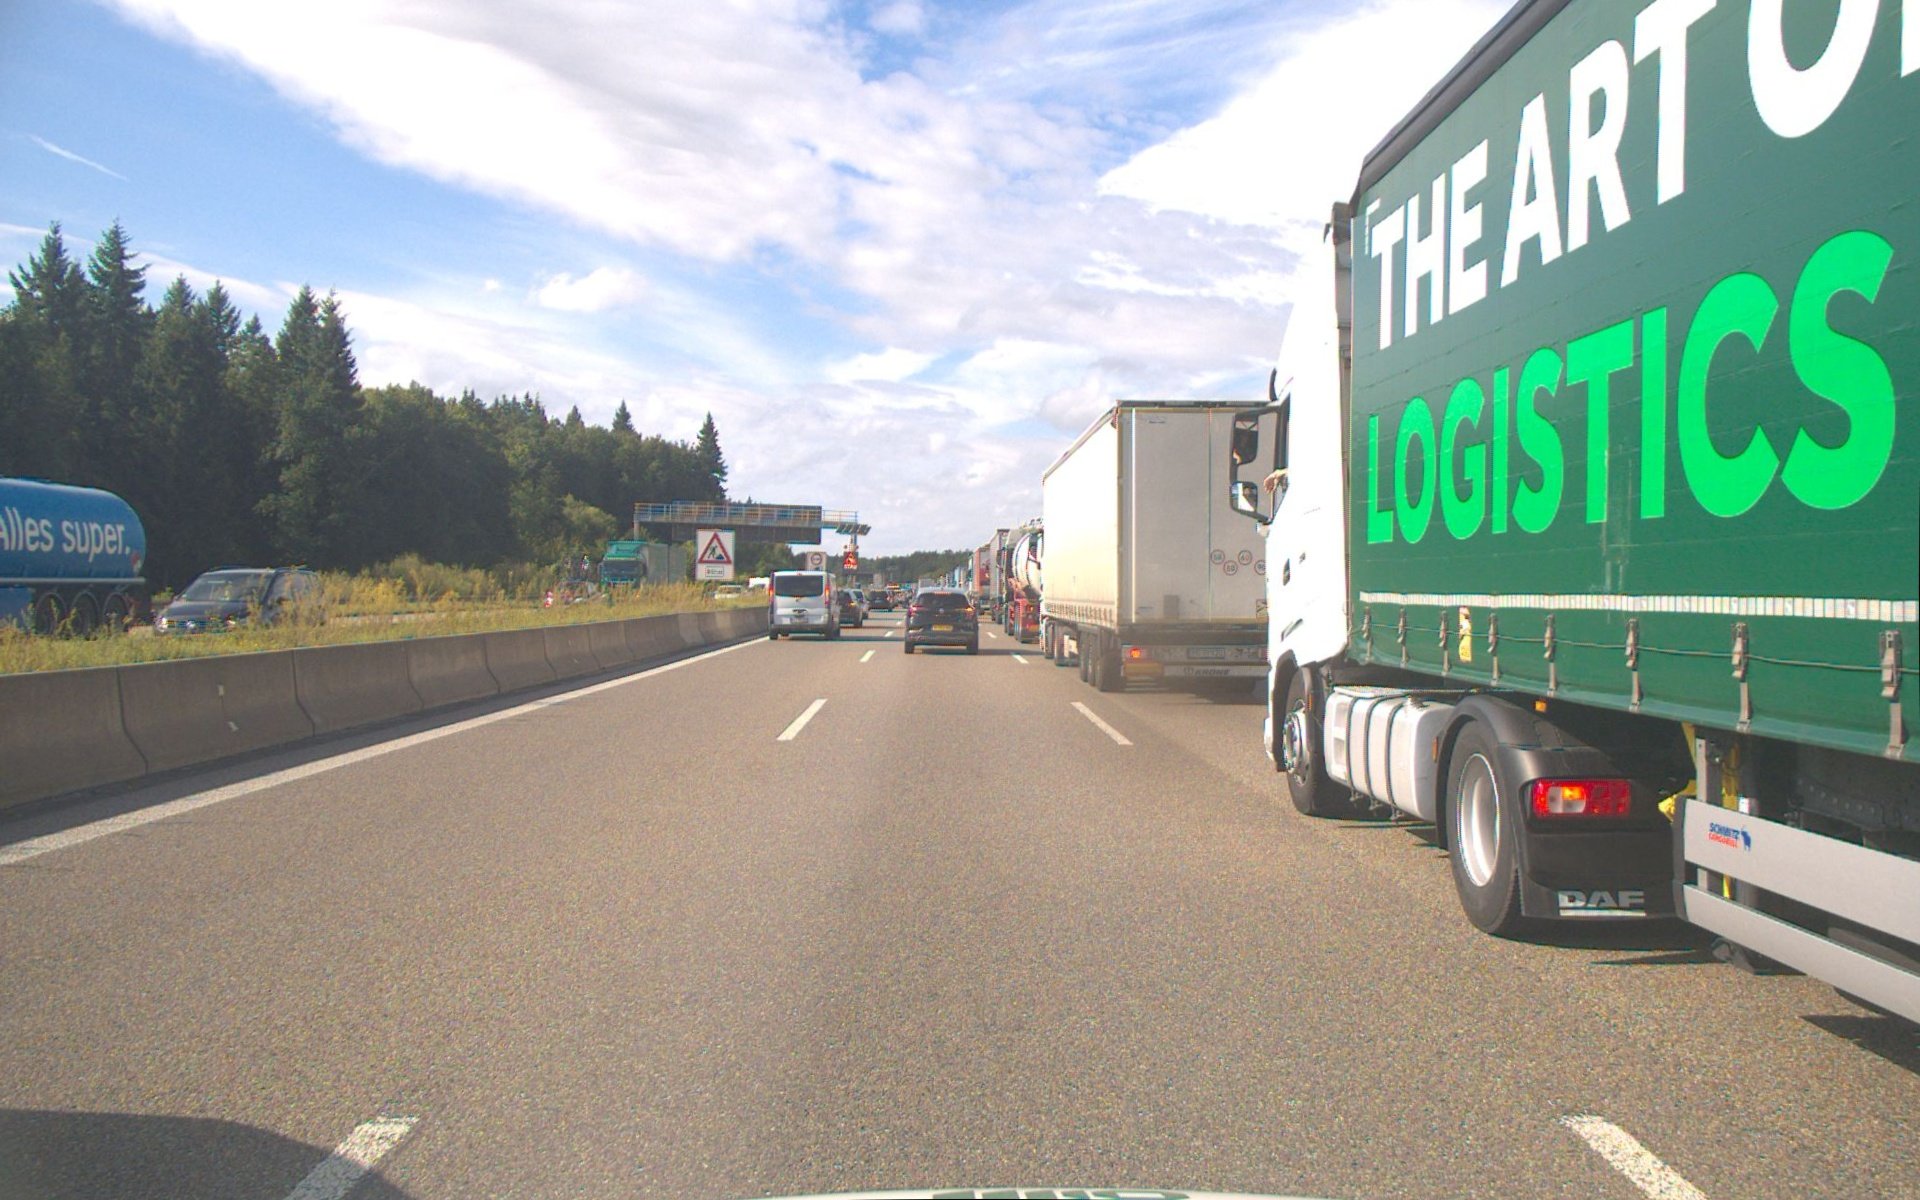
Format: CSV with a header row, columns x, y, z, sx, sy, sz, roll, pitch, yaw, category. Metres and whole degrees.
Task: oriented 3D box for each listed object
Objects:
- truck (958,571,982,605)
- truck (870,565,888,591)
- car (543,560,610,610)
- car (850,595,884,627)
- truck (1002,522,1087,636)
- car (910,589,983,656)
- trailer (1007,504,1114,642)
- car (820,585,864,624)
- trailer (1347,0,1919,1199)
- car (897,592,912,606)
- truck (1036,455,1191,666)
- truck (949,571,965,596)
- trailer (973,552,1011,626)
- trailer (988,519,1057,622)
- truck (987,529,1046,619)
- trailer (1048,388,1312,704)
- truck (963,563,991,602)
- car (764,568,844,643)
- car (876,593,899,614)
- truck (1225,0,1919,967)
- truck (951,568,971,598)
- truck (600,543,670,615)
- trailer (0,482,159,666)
x,y,z,sx,sy,sz,roll,pitch,yaw,category
0.922,-1.089,152.358,1.953,2.983,4.981,3,0,0,truck
-11.861,-3.171,242.306,2.297,3.656,6.304,4,0,-1,truck
-15.715,-0.596,67.948,1.724,1.914,3.999,4,0,-1,car
-4.608,0.540,82.465,1.470,1.420,3.475,4,0,-1,car
2.814,-0.690,56.764,2.482,3.646,6.728,1,0,-1,truck
-0.351,0.510,40.420,1.662,1.509,4.159,1,1,-1,car
2.870,-0.723,50.129,2.489,3.717,10.625,1,0,-1,trailer
-4.533,0.177,63.711,1.469,1.420,3.475,-1,0,-1,car
3.640,-0.471,2.891,2.607,3.936,13.392,1,0,-1,trailer
-5.462,-0.102,163.030,1.333,1.323,3.084,4,0,-1,car
3.163,-0.767,35.616,2.653,4.131,6.360,0,0,-1,truck
-0.384,-2.175,222.630,1.953,3.105,4.981,4,0,0,truck
1.935,-0.658,102.478,2.106,4.333,8.439,1,0,0,trailer
2.733,-1.242,75.464,2.745,4.318,11.056,0,0,0,trailer
2.755,-1.234,82.210,2.729,4.321,6.459,0,0,0,truck
3.250,-0.749,28.292,2.648,4.153,12.942,0,0,-1,trailer
1.348,-1.369,133.139,1.953,2.982,4.981,4,0,0,truck
-4.637,0.151,49.880,1.894,2.013,5.097,4,0,-1,car
-4.954,0.251,112.965,1.406,1.333,3.532,4,0,-1,car
3.558,-0.477,10.240,2.593,3.936,6.995,1,0,-1,truck
0.101,-1.812,179.042,1.953,3.105,4.981,4,0,0,truck
-20.522,-1.286,104.959,2.656,4.318,10.341,0,0,-2,truck
-18.631,-0.493,30.909,2.274,3.342,10.872,1,0,-2,trailer
